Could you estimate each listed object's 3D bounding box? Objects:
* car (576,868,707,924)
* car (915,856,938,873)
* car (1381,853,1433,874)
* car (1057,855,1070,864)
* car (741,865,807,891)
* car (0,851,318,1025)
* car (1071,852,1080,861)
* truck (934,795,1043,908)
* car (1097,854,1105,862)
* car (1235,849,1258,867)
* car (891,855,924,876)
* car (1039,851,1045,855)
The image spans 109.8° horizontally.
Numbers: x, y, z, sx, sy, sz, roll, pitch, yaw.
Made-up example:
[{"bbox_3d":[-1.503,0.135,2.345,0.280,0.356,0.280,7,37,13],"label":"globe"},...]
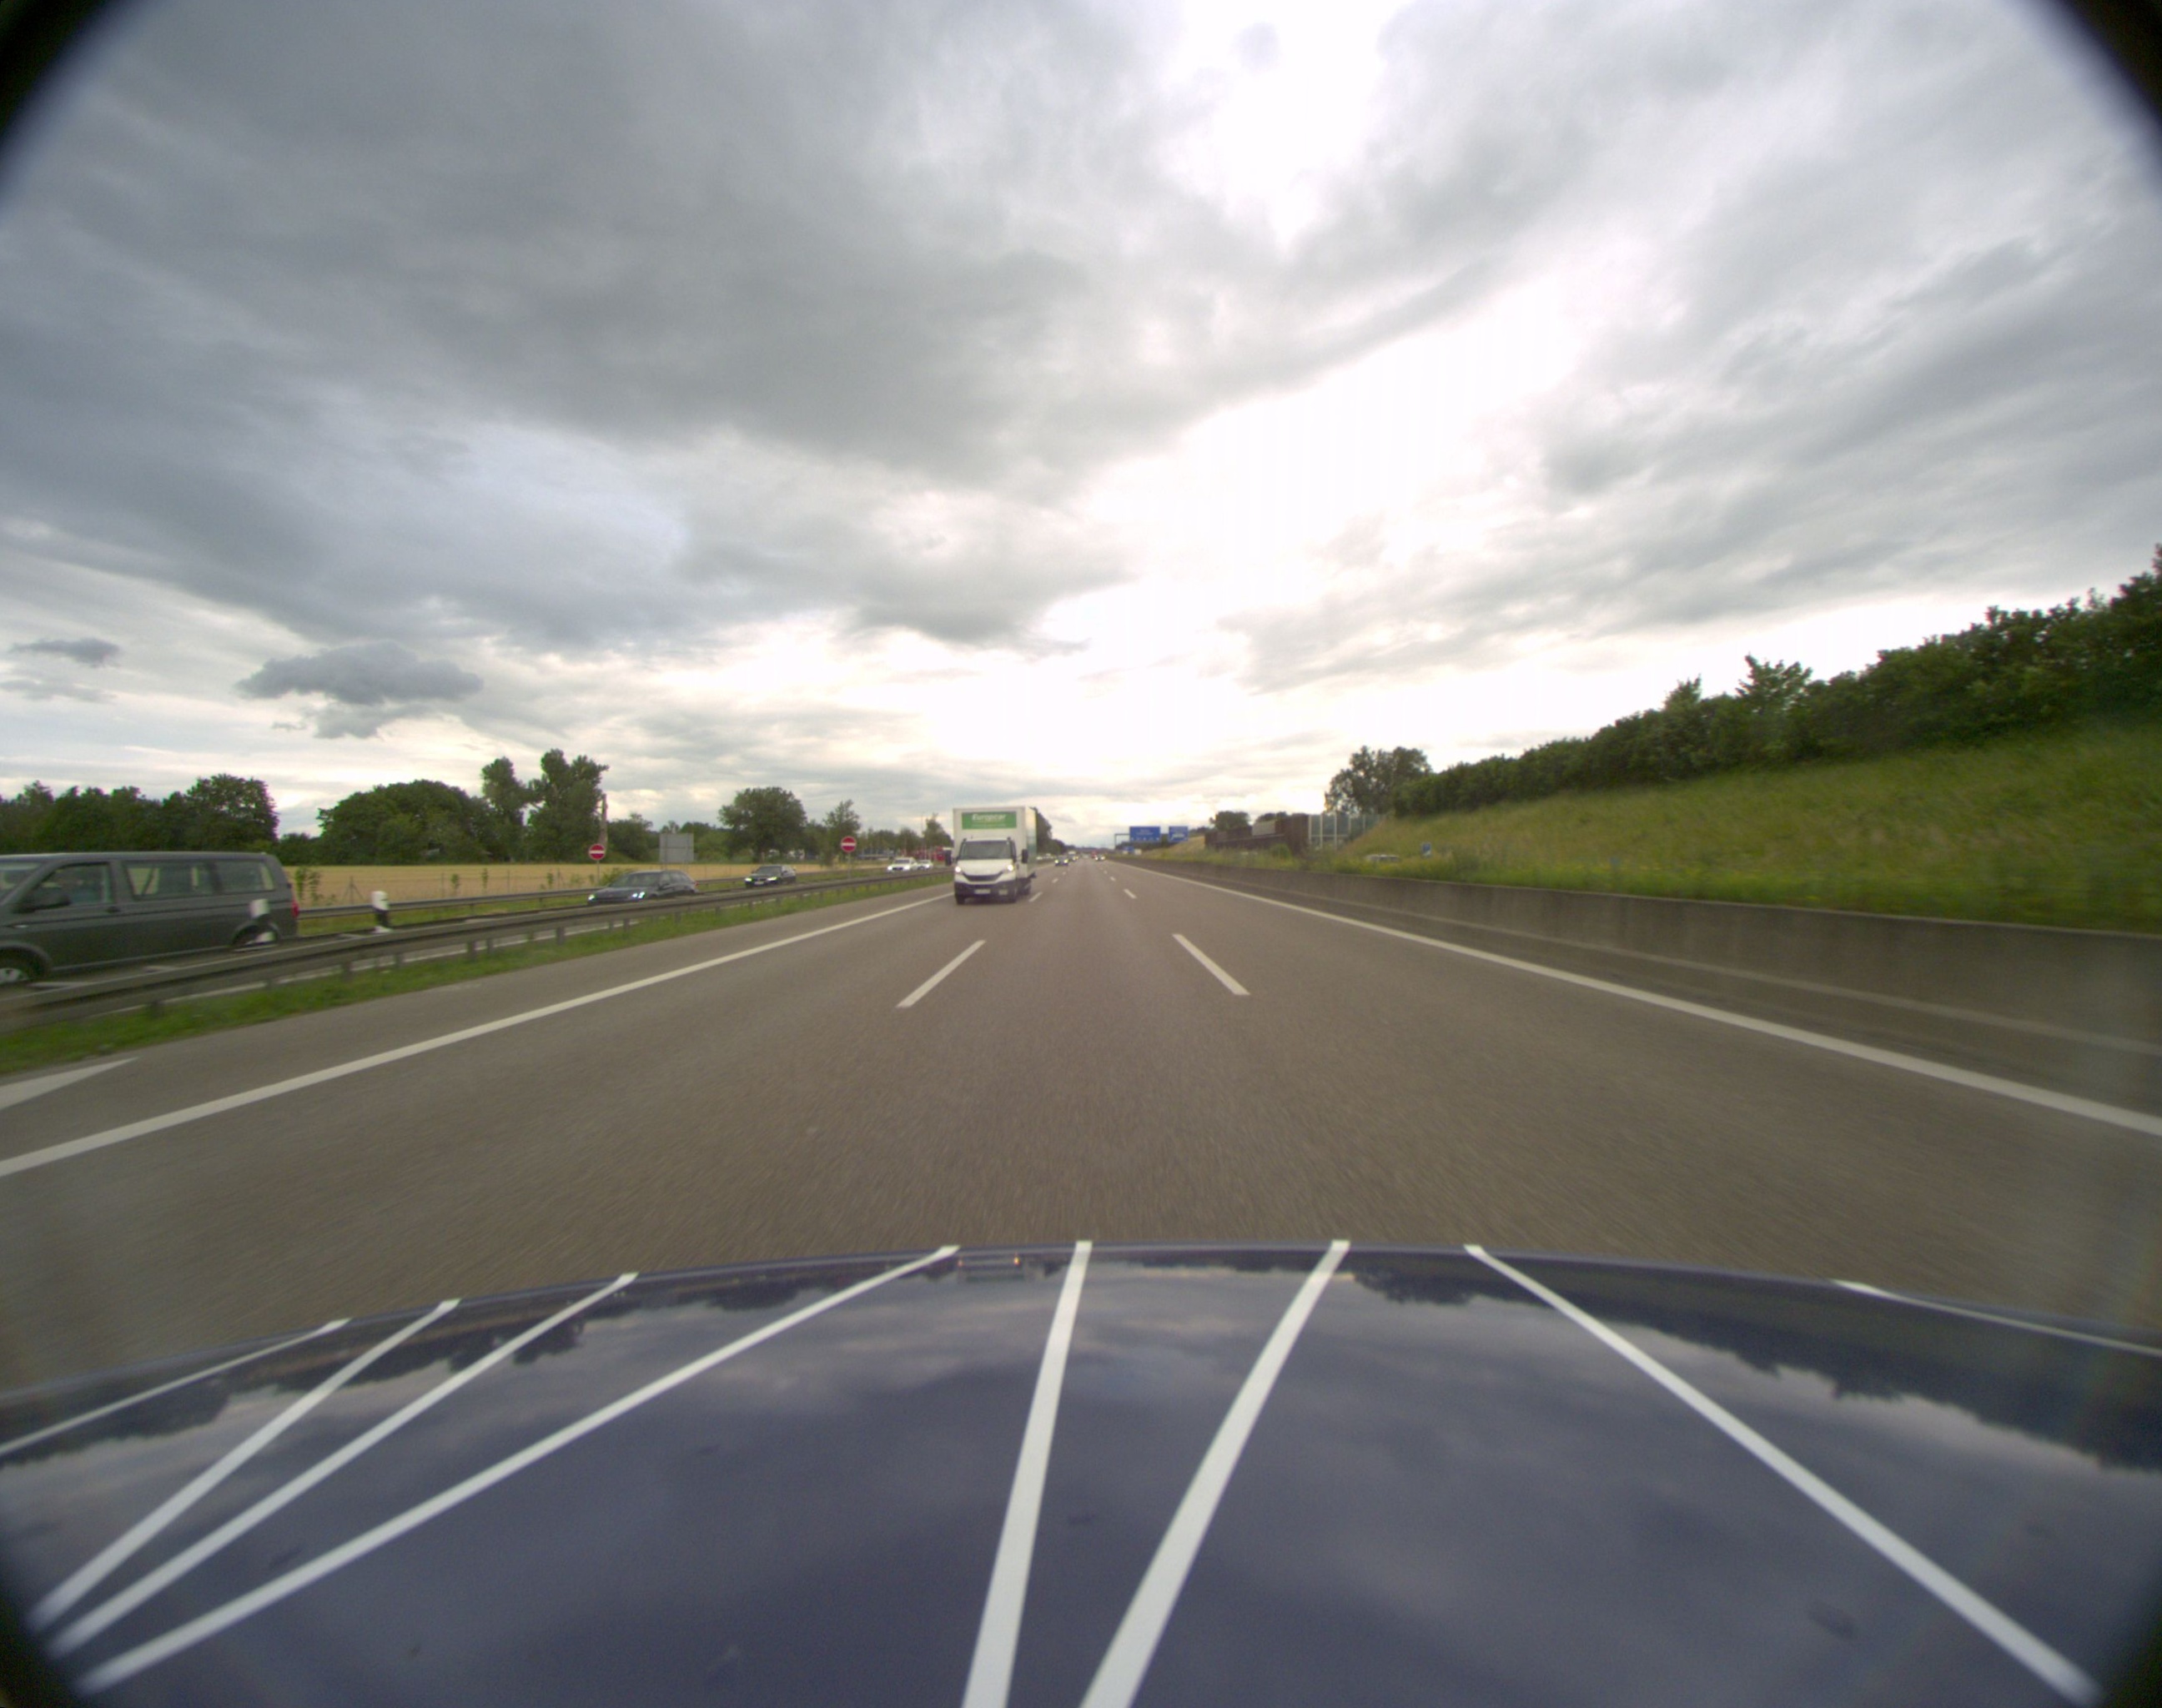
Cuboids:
[{"bbox_3d":[-14.232,1.290,24.958,1.755,1.476,4.591,-2,0,-3],"label":"car"},{"bbox_3d":[-19.873,1.375,98.034,1.982,2.002,4.000,-3,1,1],"label":"car"},{"bbox_3d":[20.698,0.597,48.441,1.603,1.239,4.120,0,0,1],"label":"car"},{"bbox_3d":[-2.541,0.831,111.439,1.781,1.180,4.000,-1,0,0],"label":"car"},{"bbox_3d":[-18.495,1.416,46.053,1.833,1.308,5.713,-2,0,-2],"label":"car"},{"bbox_3d":[-13.928,1.021,10.387,2.150,2.051,4.955,-2,0,-4],"label":"car"},{"bbox_3d":[-1.186,0.493,178.327,1.998,2.002,4.000,0,0,1],"label":"car"},{"bbox_3d":[-3.150,-0.092,28.612,2.777,3.484,9.061,-2,0,1],"label":"truck"},{"bbox_3d":[4.822,0.987,184.653,1.998,2.002,4.000,0,0,1],"label":"car"},{"bbox_3d":[17.285,0.390,79.483,1.603,1.746,4.119,0,0,0],"label":"car"},{"bbox_3d":[-15.471,0.984,68.039,1.833,1.746,5.064,-1,0,-1],"label":"car"},{"bbox_3d":[-13.567,-0.259,261.719,1.828,1.236,3.878,-1,0,0],"label":"car"}]
